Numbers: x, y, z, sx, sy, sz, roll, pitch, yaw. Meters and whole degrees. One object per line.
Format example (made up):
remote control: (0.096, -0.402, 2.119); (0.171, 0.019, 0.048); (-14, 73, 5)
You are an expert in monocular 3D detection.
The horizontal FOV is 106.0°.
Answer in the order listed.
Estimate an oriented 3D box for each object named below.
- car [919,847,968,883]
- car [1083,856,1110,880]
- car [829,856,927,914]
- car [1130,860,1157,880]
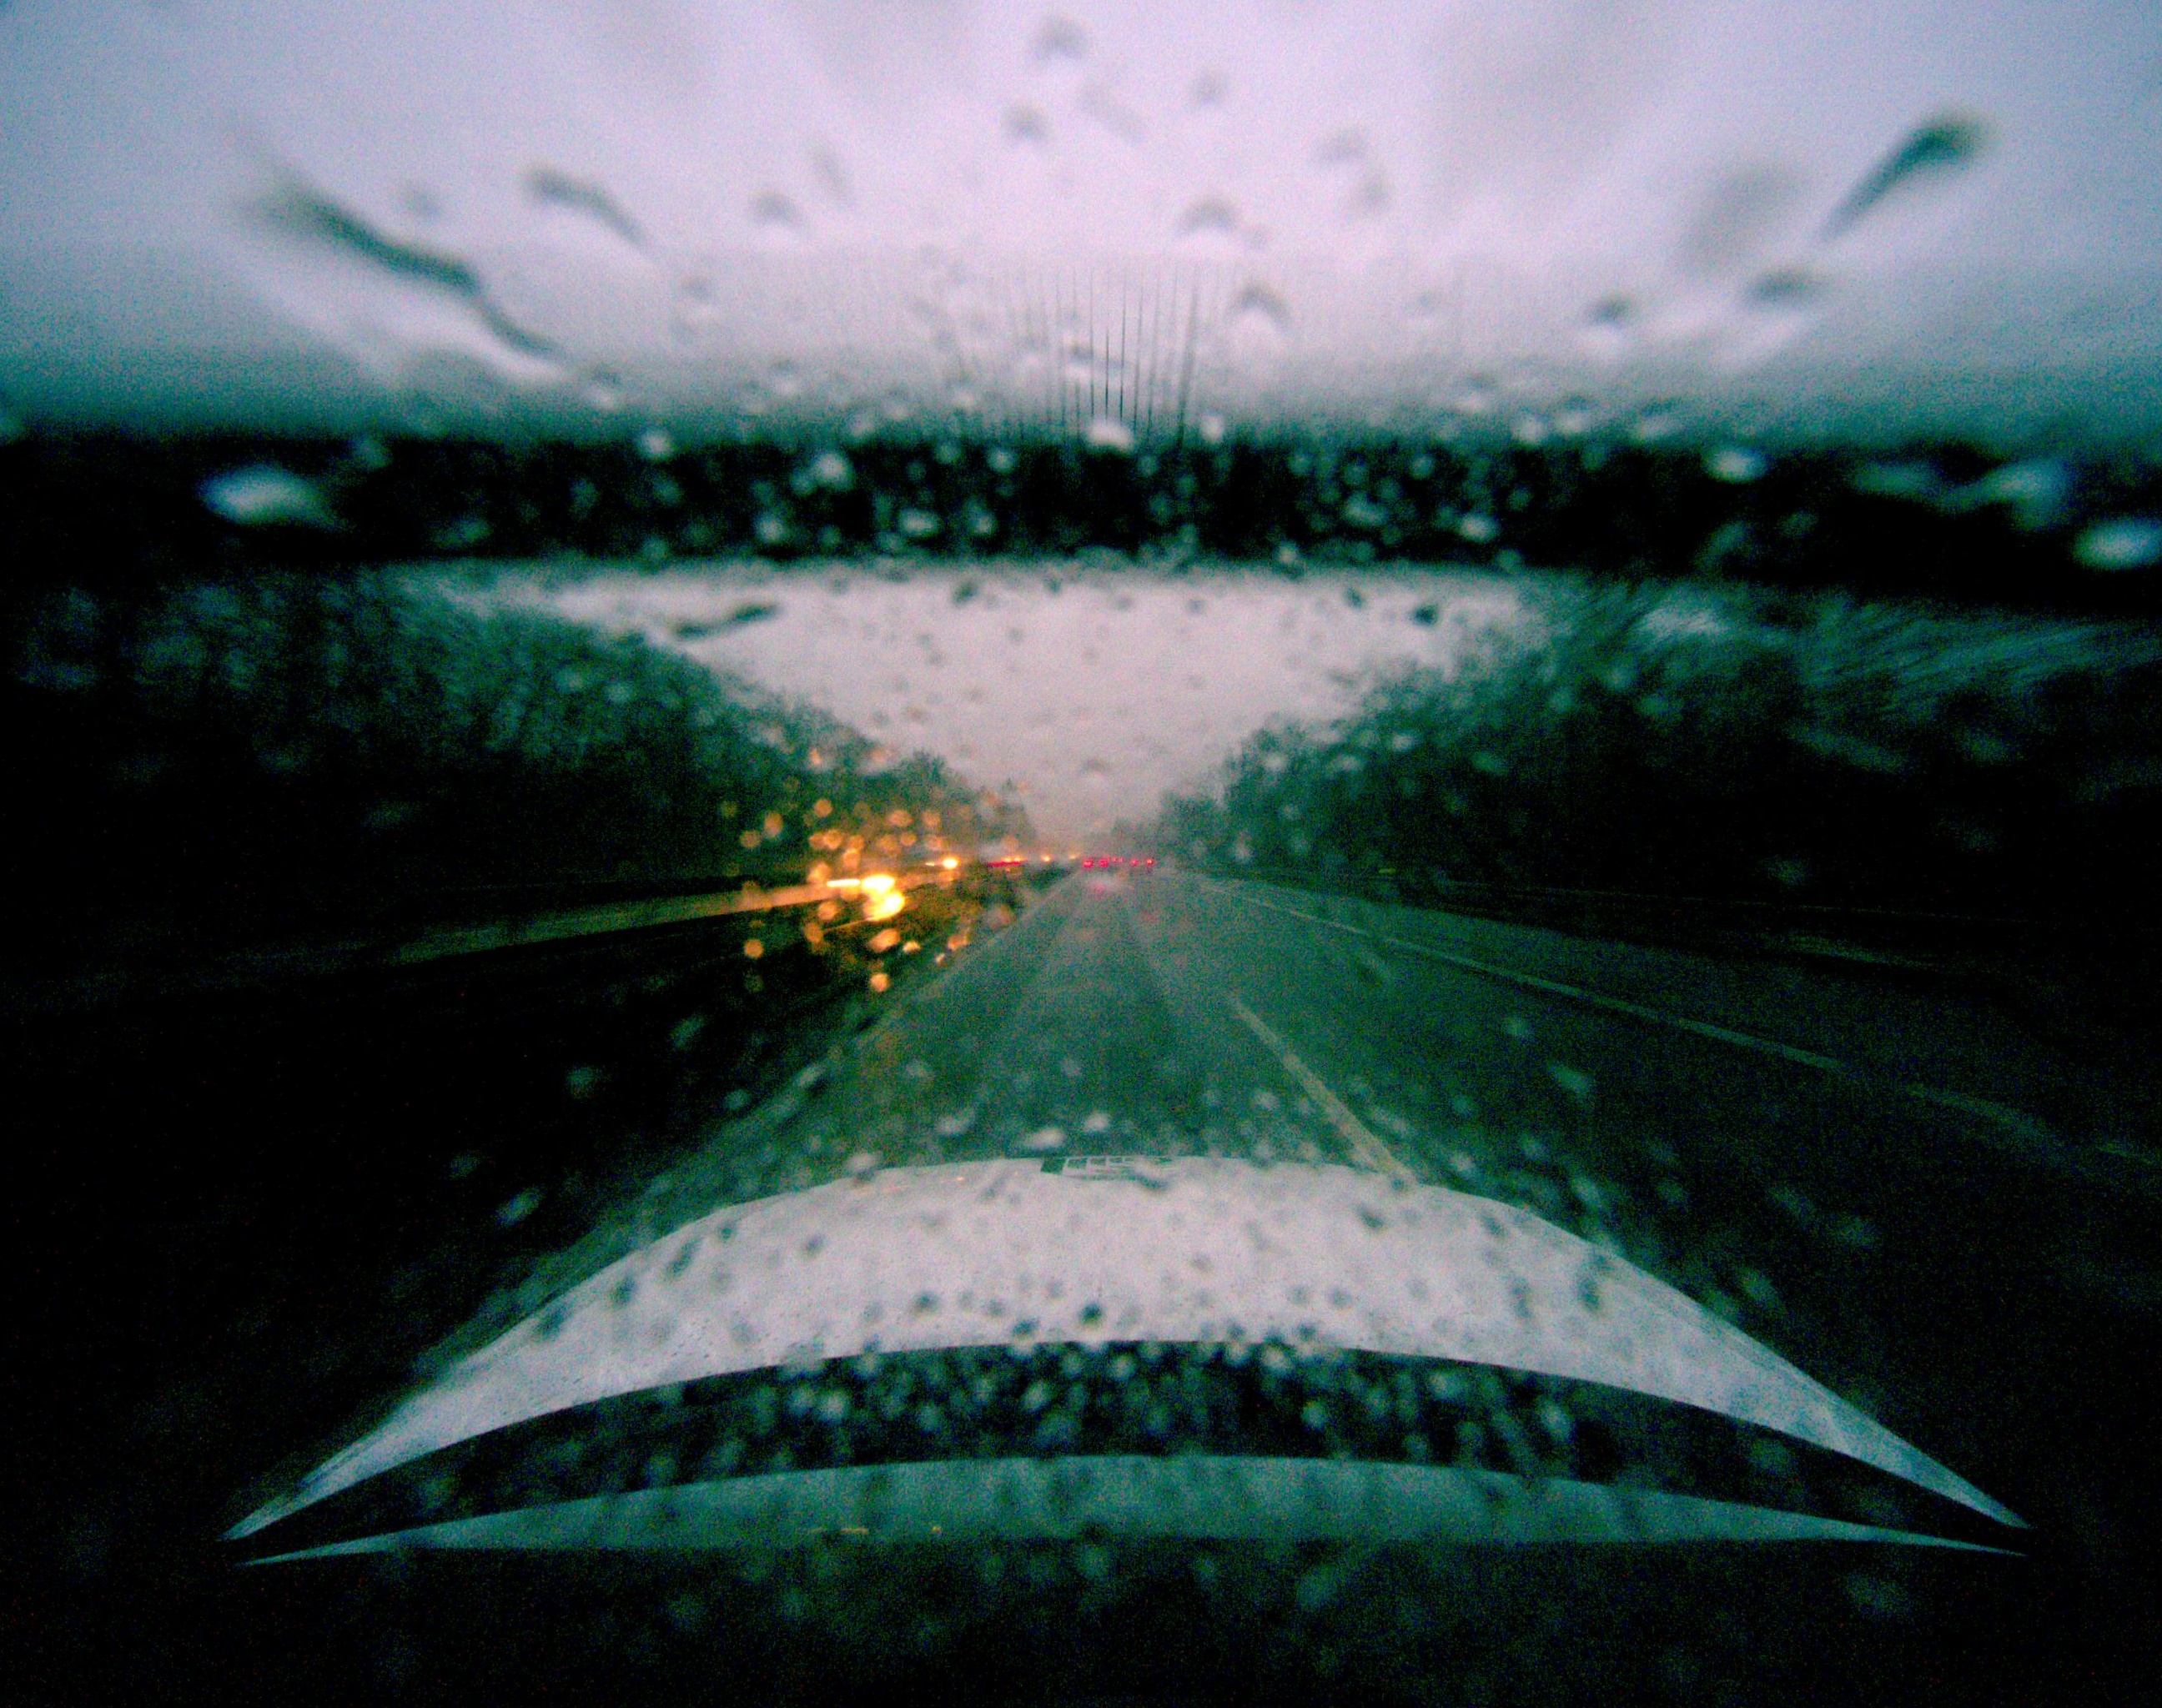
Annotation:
car: (-10.047, 0.802, 60.081); (2.467, 2.523, 6.270); (-1, -1, 1)
car: (1.161, 1.082, 63.500); (1.980, 1.767, 4.171); (-1, -1, -1)
car: (-6.796, 0.972, 27.866); (1.897, 1.768, 5.261); (0, 0, 1)
car: (5.440, 1.365, 71.241); (2.063, 1.698, 4.460); (-1, -1, 0)
